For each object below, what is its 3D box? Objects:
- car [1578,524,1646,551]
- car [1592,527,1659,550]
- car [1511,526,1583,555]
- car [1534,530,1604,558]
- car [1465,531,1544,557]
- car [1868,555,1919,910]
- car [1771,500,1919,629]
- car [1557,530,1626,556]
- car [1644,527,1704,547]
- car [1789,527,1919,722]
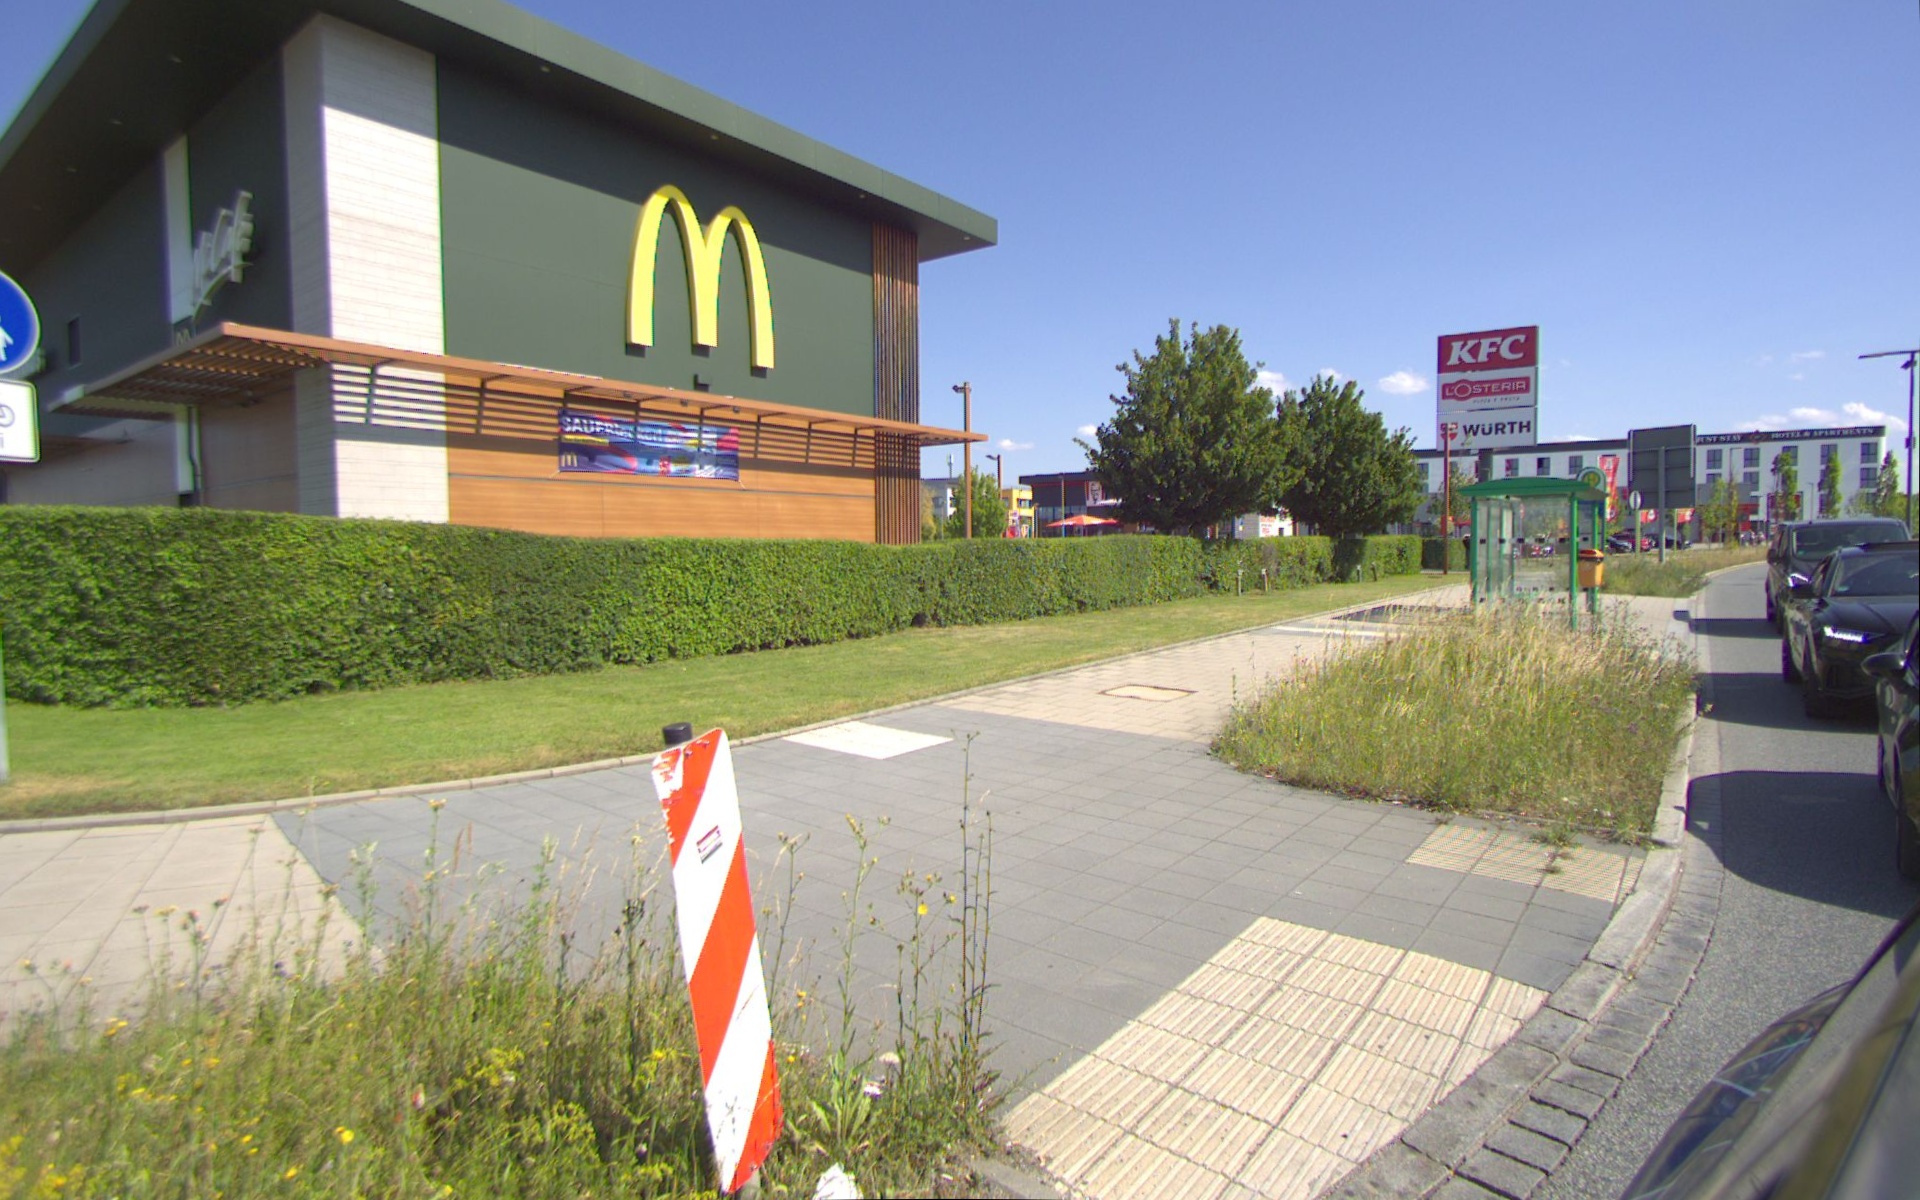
[{"bbox_3d":[52.158,-4.965,80.997,1.899,2.038,4.183,-3,4,-39],"label":"car"},{"bbox_3d":[54.643,-5.055,83.143,1.789,1.783,4.188,-3,3,-34],"label":"car"},{"bbox_3d":[43.128,-4.368,74.421,1.899,2.038,4.185,-3,3,-38],"label":"car"},{"bbox_3d":[46.154,-4.206,76.773,1.898,2.038,4.185,-3,3,-38],"label":"car"},{"bbox_3d":[37.294,-3.827,69.431,4.431,1.672,1.903,2,4,45],"label":"car"},{"bbox_3d":[6.023,0.500,5.276,1.856,1.486,3.940,-1,2,43],"label":"car"},{"bbox_3d":[16.344,-0.688,18.652,2.071,2.073,4.618,-2,2,40],"label":"car"},{"bbox_3d":[48.406,-4.347,77.629,1.769,1.880,4.189,-3,3,-34],"label":"car"},{"bbox_3d":[60.559,-5.329,85.881,1.726,1.639,3.822,-3,4,-38],"label":"car"},{"bbox_3d":[9.777,0.118,10.424,1.854,1.709,3.945,-2,2,40],"label":"car"}]
